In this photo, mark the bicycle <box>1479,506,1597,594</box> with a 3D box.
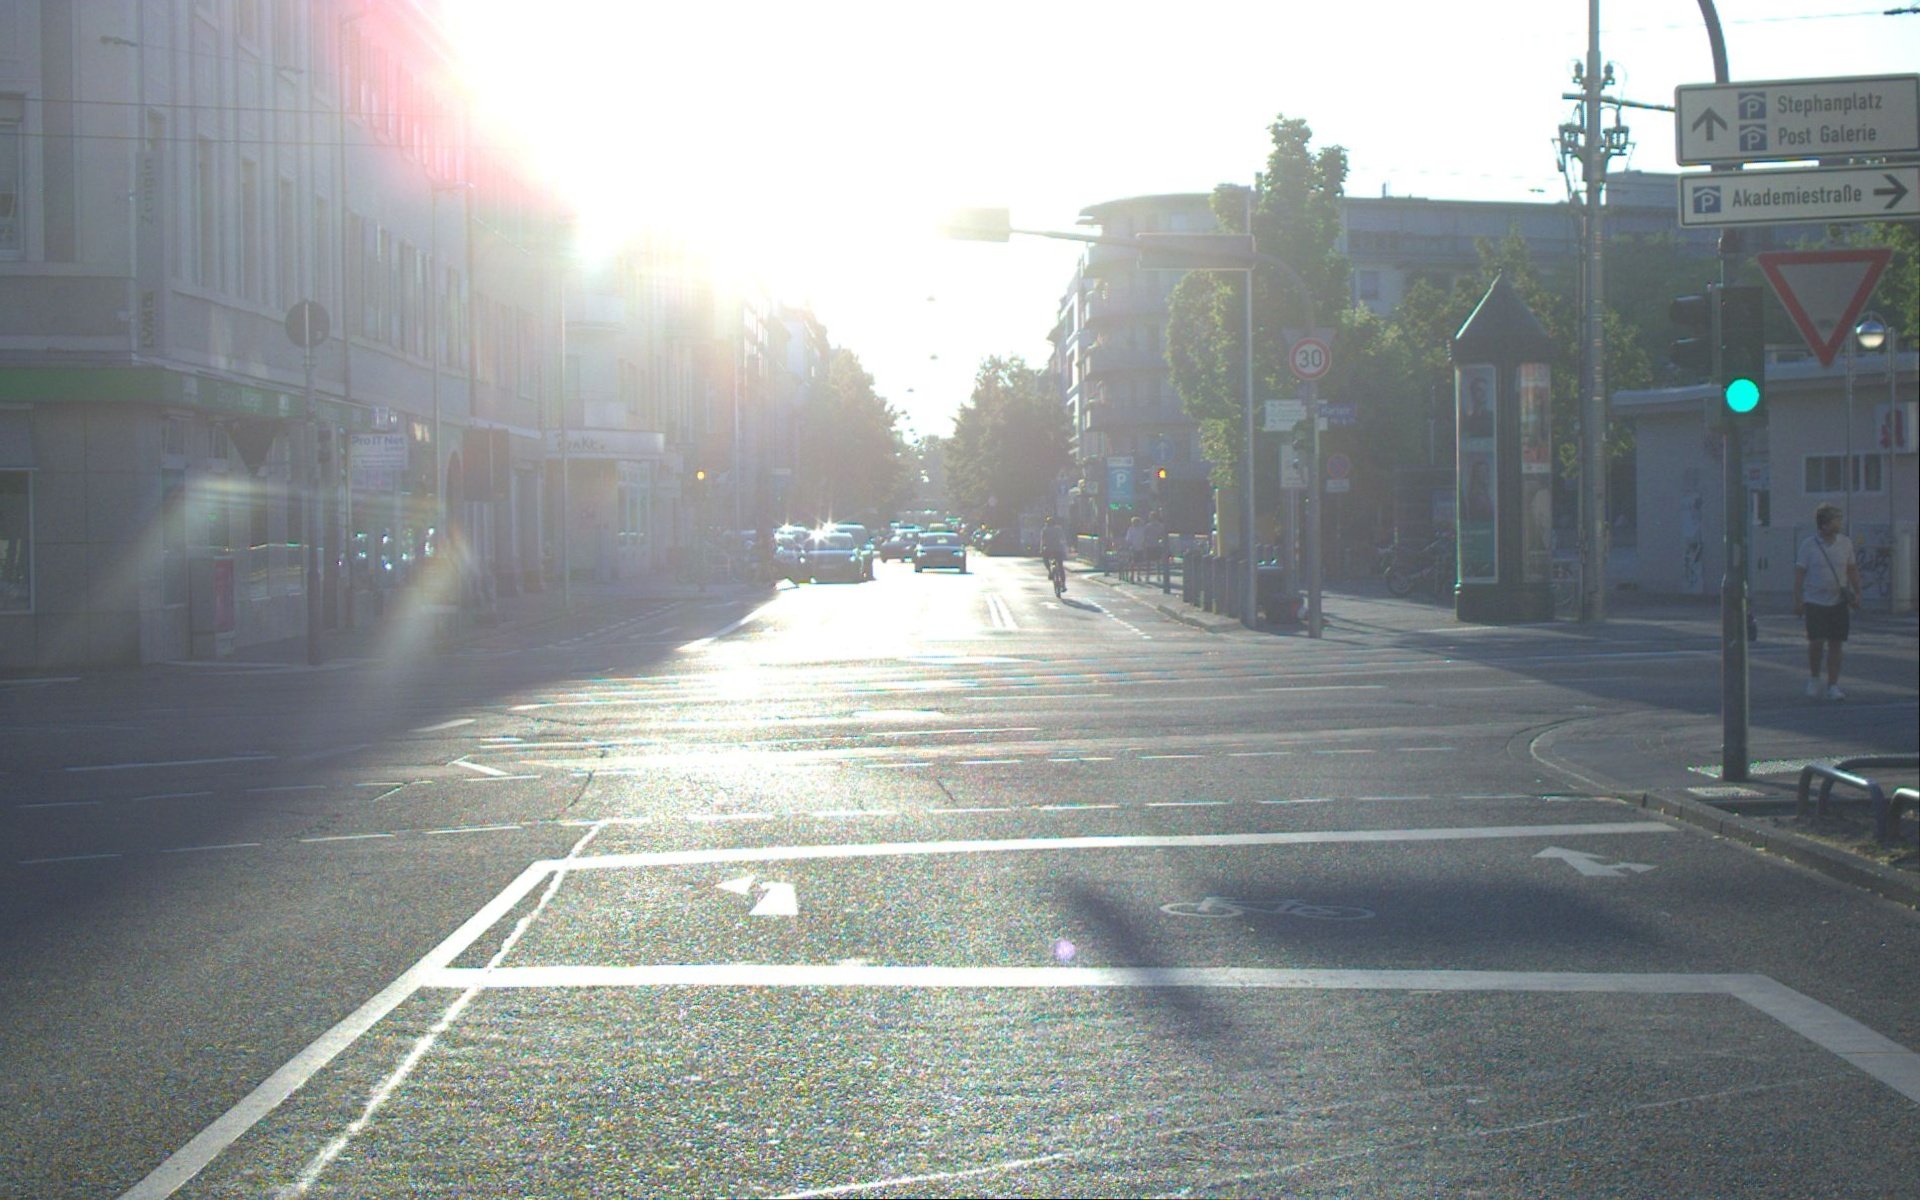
[{"bbox_3d":[10.166,-0.878,60.498,1.986,1.517,0.479,-1,1,1],"label":"bicycle"}]

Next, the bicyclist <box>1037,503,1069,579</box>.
[{"bbox_3d":[2.105,-1.328,77.784,0.678,1.701,0.669,-1,1,2],"label":"bicyclist"}]

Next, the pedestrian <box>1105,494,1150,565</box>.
[{"bbox_3d":[4.678,-1.976,96.040,0.992,1.950,0.805,-1,1,27],"label":"pedestrian"}]

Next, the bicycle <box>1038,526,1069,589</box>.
[{"bbox_3d":[2.120,-0.967,77.819,0.678,1.397,2.230,-1,1,2],"label":"bicycle"}]

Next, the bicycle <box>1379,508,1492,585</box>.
[{"bbox_3d":[9.634,-1.087,69.709,2.223,1.517,0.681,-1,1,5],"label":"bicycle"}]

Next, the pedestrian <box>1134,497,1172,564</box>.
[{"bbox_3d":[5.298,-1.901,94.153,0.804,1.780,0.993,-2,0,14],"label":"pedestrian"}]

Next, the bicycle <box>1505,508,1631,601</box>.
[{"bbox_3d":[10.085,-0.755,57.050,1.985,1.517,0.479,-1,1,0],"label":"bicycle"}]

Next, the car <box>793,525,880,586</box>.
[{"bbox_3d":[-3.563,-1.311,100.002,2.303,1.672,5.532,-1,1,0],"label":"car"}]

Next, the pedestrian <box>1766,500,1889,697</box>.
[{"bbox_3d":[7.778,-0.021,30.806,0.805,1.720,0.992,-2,0,28],"label":"pedestrian"}]

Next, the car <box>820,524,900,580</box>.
[{"bbox_3d":[-3.099,-1.536,107.589,2.303,1.672,5.532,-1,1,0],"label":"car"}]

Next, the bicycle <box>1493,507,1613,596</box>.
[{"bbox_3d":[10.256,-0.841,59.461,1.986,1.517,0.479,-1,1,1],"label":"bicycle"}]

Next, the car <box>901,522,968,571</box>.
[{"bbox_3d":[-0.868,-1.916,122.090,2.303,1.672,5.532,-1,1,0],"label":"car"}]

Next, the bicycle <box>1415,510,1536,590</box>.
[{"bbox_3d":[9.979,-0.973,66.563,2.222,1.517,0.681,-1,1,1],"label":"bicycle"}]
